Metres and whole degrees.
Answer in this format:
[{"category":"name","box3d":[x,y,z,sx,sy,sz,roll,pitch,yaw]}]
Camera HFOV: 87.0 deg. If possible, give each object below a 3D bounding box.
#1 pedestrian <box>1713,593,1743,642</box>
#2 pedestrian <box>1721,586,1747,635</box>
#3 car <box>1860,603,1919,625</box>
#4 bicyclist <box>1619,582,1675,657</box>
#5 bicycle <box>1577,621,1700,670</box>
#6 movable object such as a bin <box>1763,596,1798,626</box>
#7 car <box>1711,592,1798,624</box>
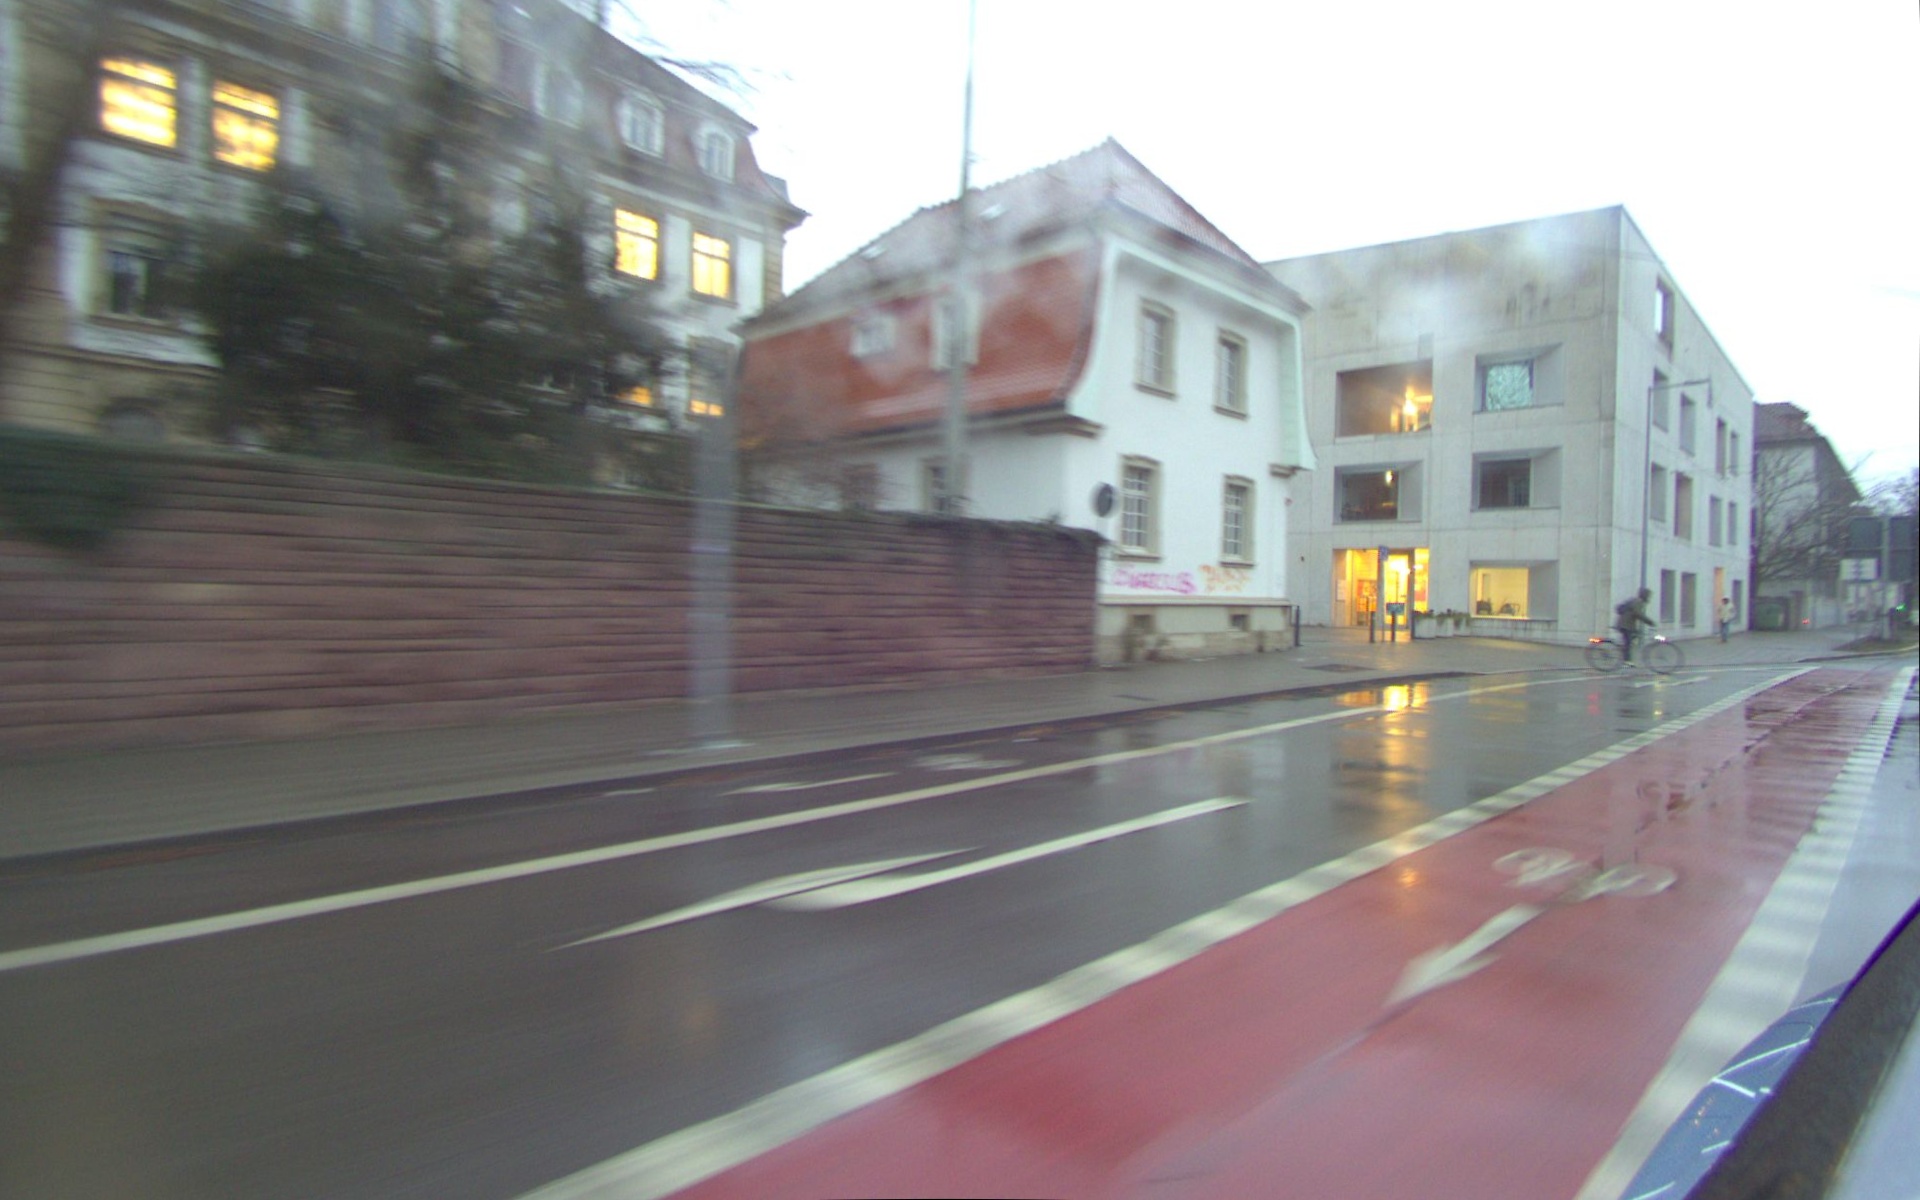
[{"category":"pedestrian","box3d":[30.075,0.678,39.652,0.706,1.881,0.772,0,2,-43]},{"category":"pedestrian","box3d":[30.229,0.399,39.528,0.648,1.883,0.657,0,2,-43]},{"category":"car","box3d":[63.435,0.930,68.156,3.822,1.447,1.844,-1,-1,29]},{"category":"bicyclist","box3d":[15.259,0.413,22.496,0.767,1.615,0.855,0,0,-40]},{"category":"bicycle","box3d":[15.189,0.995,22.695,0.928,0.956,2.119,0,1,-40]},{"category":"movable object such as a bin","box3d":[42.867,0.565,52.862,1.396,1.464,1.257,0,1,-45]},{"category":"car","box3d":[42.189,0.437,53.771,1.704,1.668,3.451,0,-1,-45]}]
